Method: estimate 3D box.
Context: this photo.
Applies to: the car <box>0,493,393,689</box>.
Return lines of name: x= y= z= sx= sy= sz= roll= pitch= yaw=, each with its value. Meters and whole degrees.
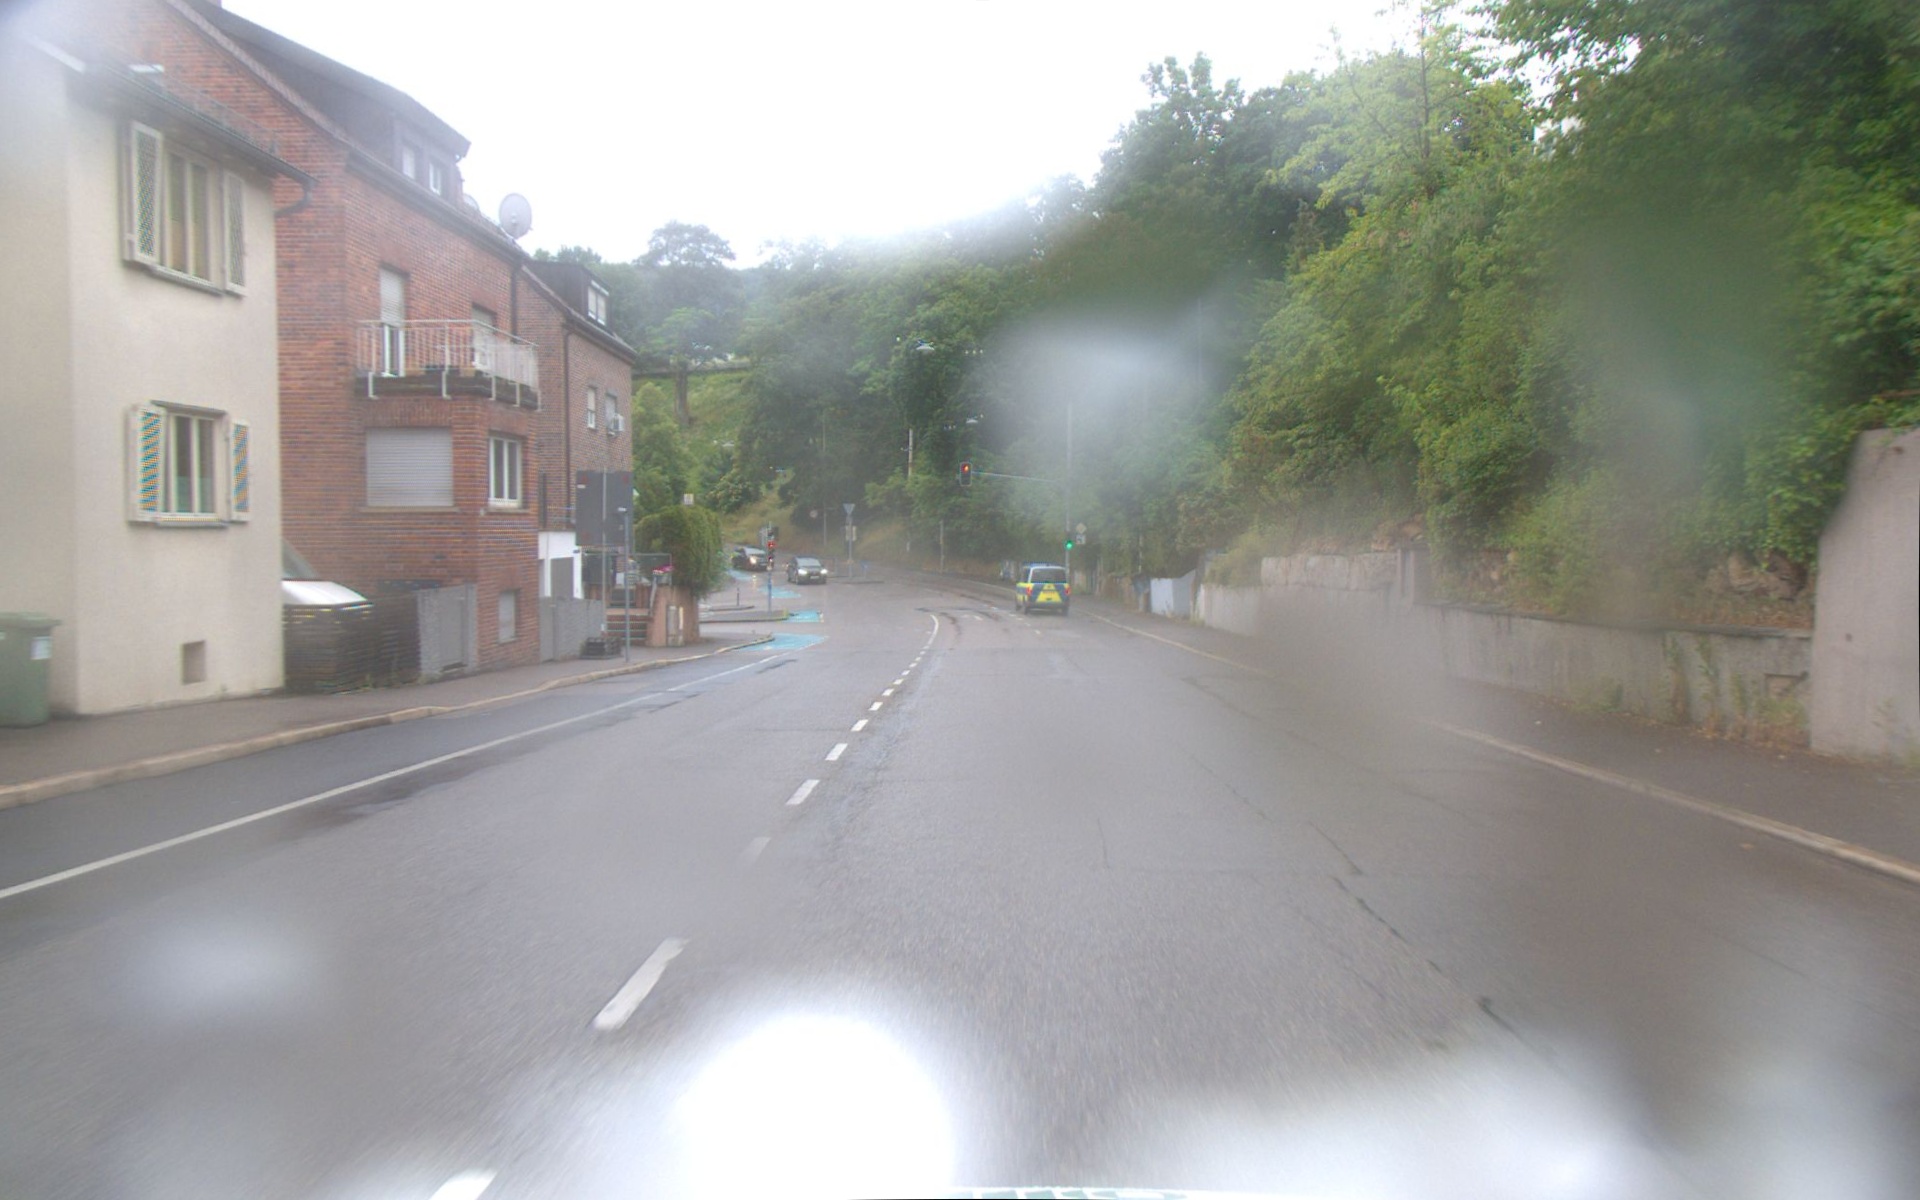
car: x=-11.579 y=-0.111 z=23.111 sx=6.516 sy=2.598 sz=2.168 roll=0 pitch=-1 yaw=1

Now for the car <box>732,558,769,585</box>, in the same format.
car: x=-13.566 y=-1.858 z=107.067 sx=1.713 sy=1.576 sz=3.983 roll=-4 pitch=3 yaw=-16

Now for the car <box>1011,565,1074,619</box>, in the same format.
car: x=3.408 y=-0.380 z=68.922 sx=2.262 sy=1.972 sz=4.325 roll=-2 pitch=3 yaw=-2

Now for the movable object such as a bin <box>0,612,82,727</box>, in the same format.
movable object such as a bin: x=-9.042 y=0.655 z=15.917 sx=0.765 sy=1.065 sz=0.738 roll=0 pitch=0 yaw=1

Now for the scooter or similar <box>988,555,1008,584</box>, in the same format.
scooter or similar: x=2.164 y=-1.758 z=94.596 sx=0.606 sy=1.446 sz=2.152 roll=-3 pitch=5 yaw=-14

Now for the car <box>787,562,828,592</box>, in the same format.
car: x=-8.975 y=-1.354 z=97.213 sx=1.712 sy=1.576 sz=3.986 roll=-4 pitch=3 yaw=-14
